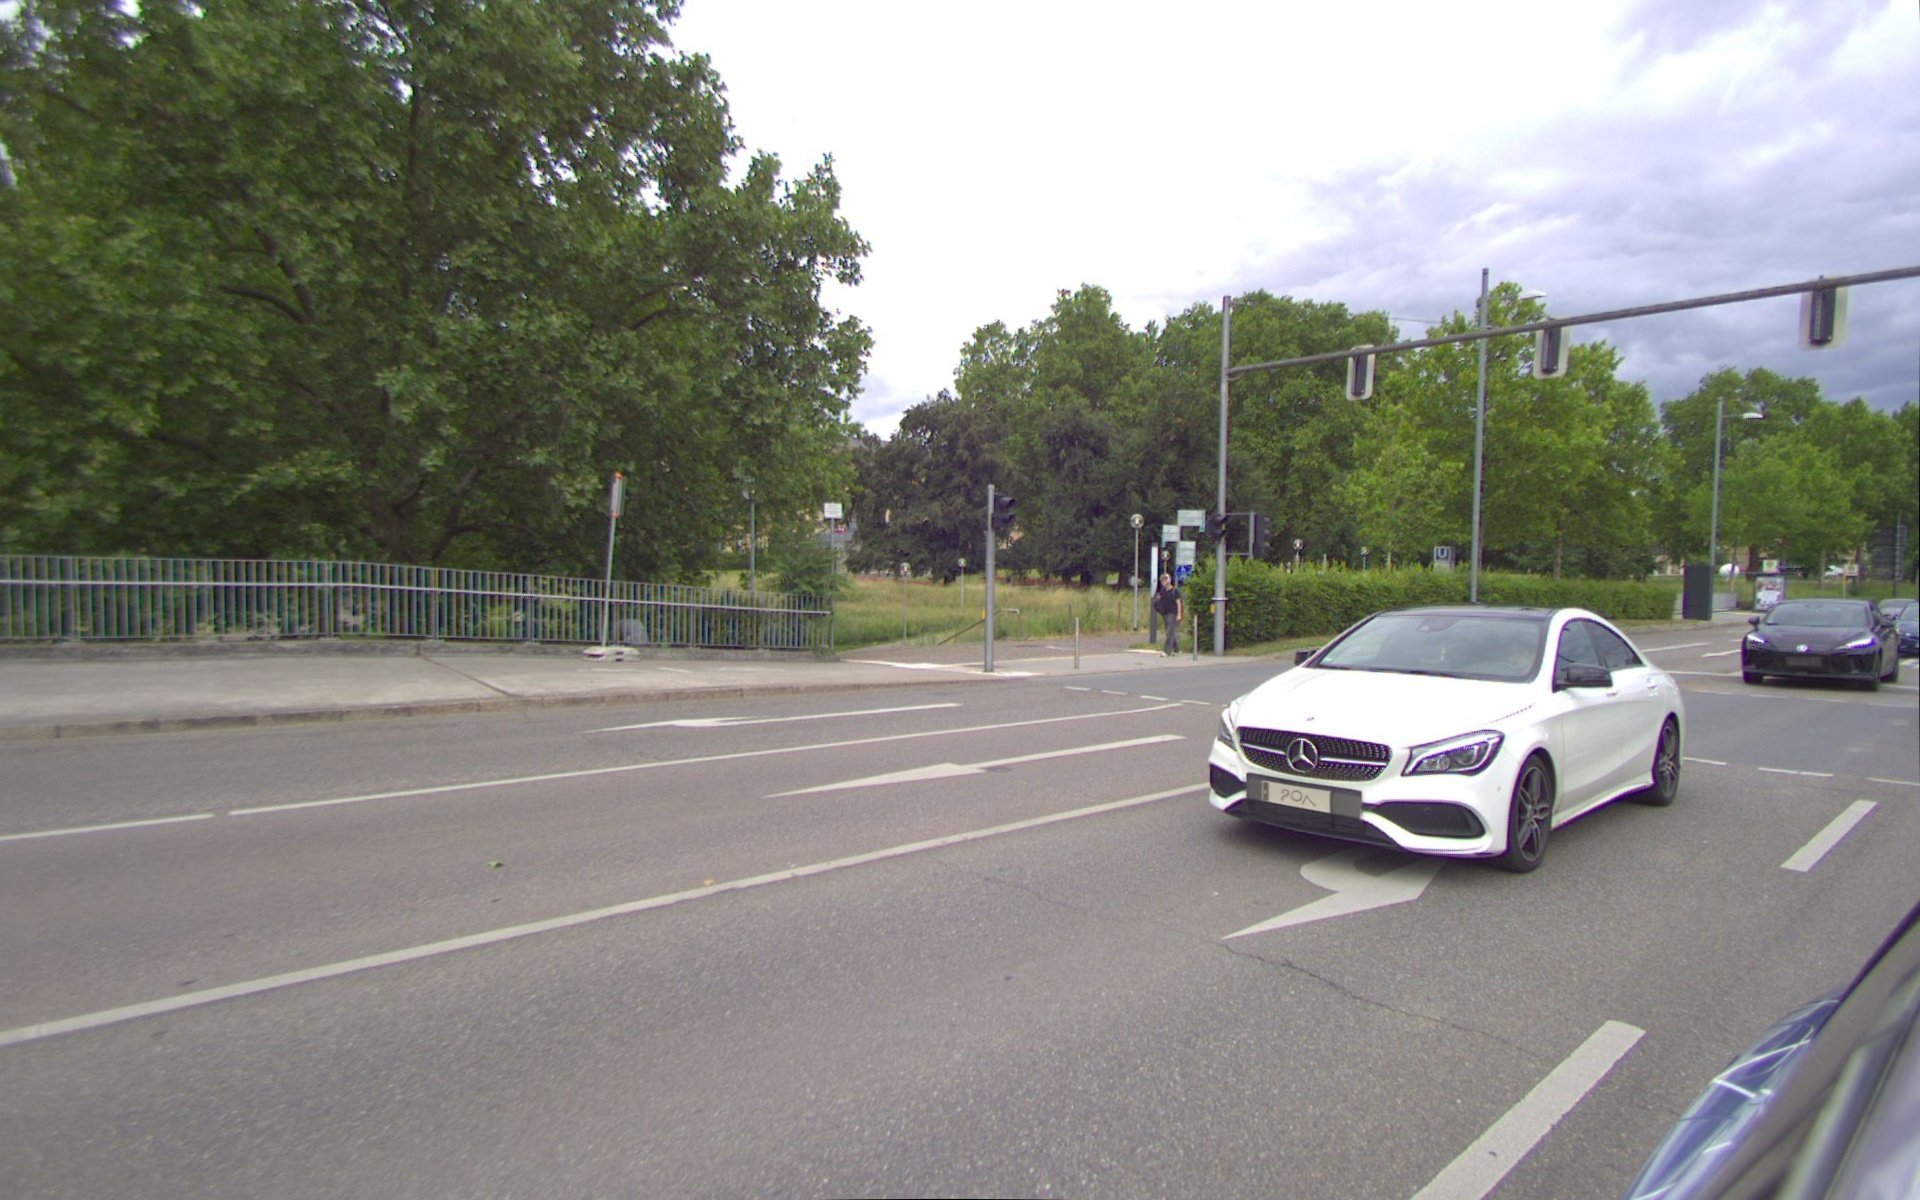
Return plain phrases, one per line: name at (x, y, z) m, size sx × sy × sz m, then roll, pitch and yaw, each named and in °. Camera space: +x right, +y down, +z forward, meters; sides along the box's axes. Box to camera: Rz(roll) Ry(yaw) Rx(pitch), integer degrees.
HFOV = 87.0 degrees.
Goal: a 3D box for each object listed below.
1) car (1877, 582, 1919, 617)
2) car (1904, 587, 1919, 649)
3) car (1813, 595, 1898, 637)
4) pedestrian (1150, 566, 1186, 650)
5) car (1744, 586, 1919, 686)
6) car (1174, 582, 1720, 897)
car at (44.803, -0.038, 47.807) m, size 3.932 × 1.556 × 1.722 m, roll -1°, pitch 2°, yaw -41°
car at (25.915, 0.485, 26.289) m, size 3.930 × 1.557 × 1.572 m, roll 1°, pitch -1°, yaw -40°
car at (33.283, 0.543, 37.569) m, size 3.930 × 1.438 × 1.866 m, roll -1°, pitch 1°, yaw -41°
pedestrian at (4.459, 0.157, 21.729) m, size 0.610 × 1.786 × 0.478 m, roll 0°, pitch 1°, yaw -44°
car at (15.444, 0.551, 17.848) m, size 4.048 × 1.543 × 1.828 m, roll 0°, pitch 1°, yaw -41°
car at (3.498, 0.615, 6.823) m, size 4.428 × 1.441 × 1.722 m, roll -1°, pitch 2°, yaw -41°
